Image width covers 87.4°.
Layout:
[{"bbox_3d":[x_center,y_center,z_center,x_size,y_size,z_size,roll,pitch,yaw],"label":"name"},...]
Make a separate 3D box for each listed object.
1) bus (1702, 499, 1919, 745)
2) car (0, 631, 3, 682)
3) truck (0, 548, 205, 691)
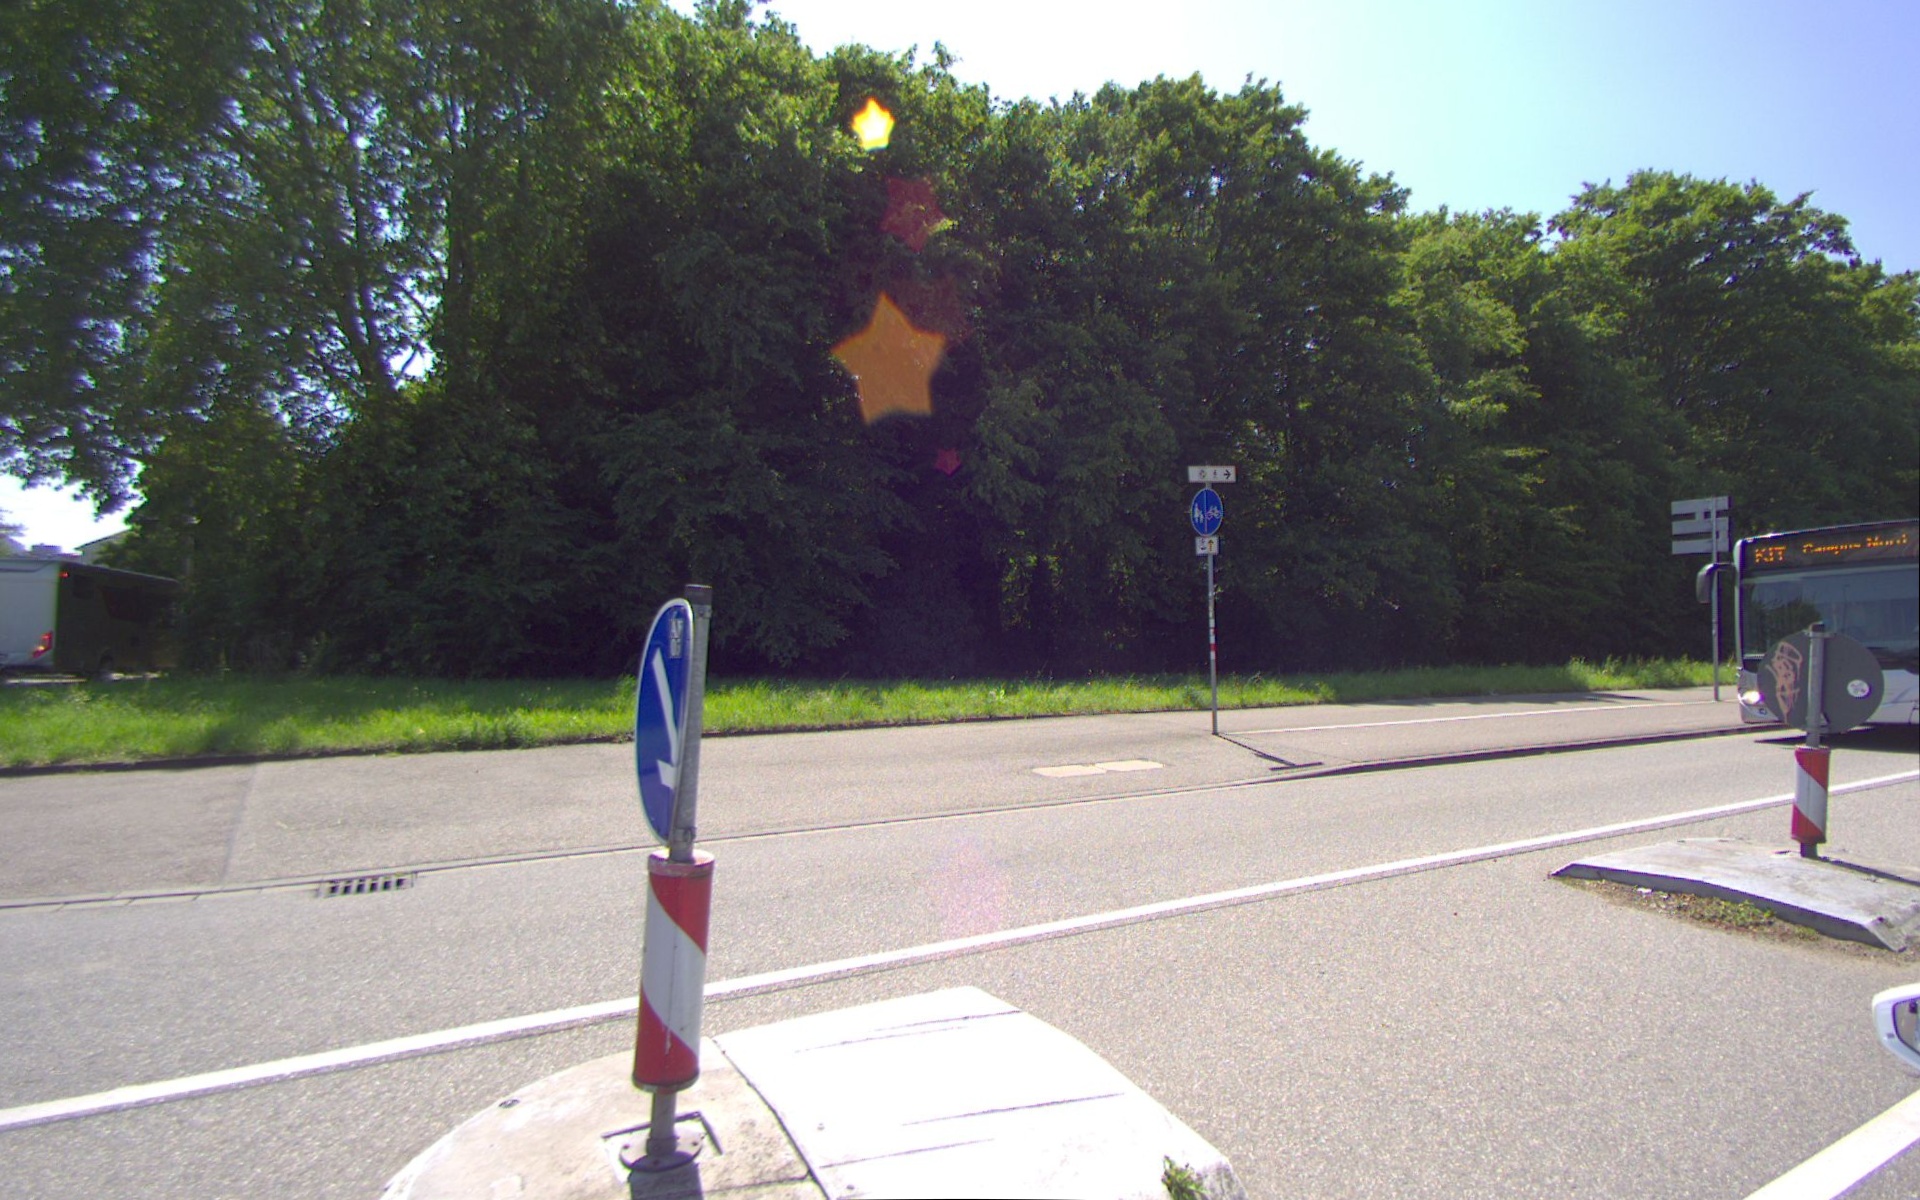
[{"bbox_3d":[16.604,0.404,16.513,11.801,3.085,2.736,1,-3,-31],"label":"bus"},{"bbox_3d":[-19.078,1.231,17.670,1.642,1.435,4.293,2,-3,-21],"label":"car"},{"bbox_3d":[-21.156,0.545,24.246,2.528,2.948,7.311,1,-3,-20],"label":"truck"}]
